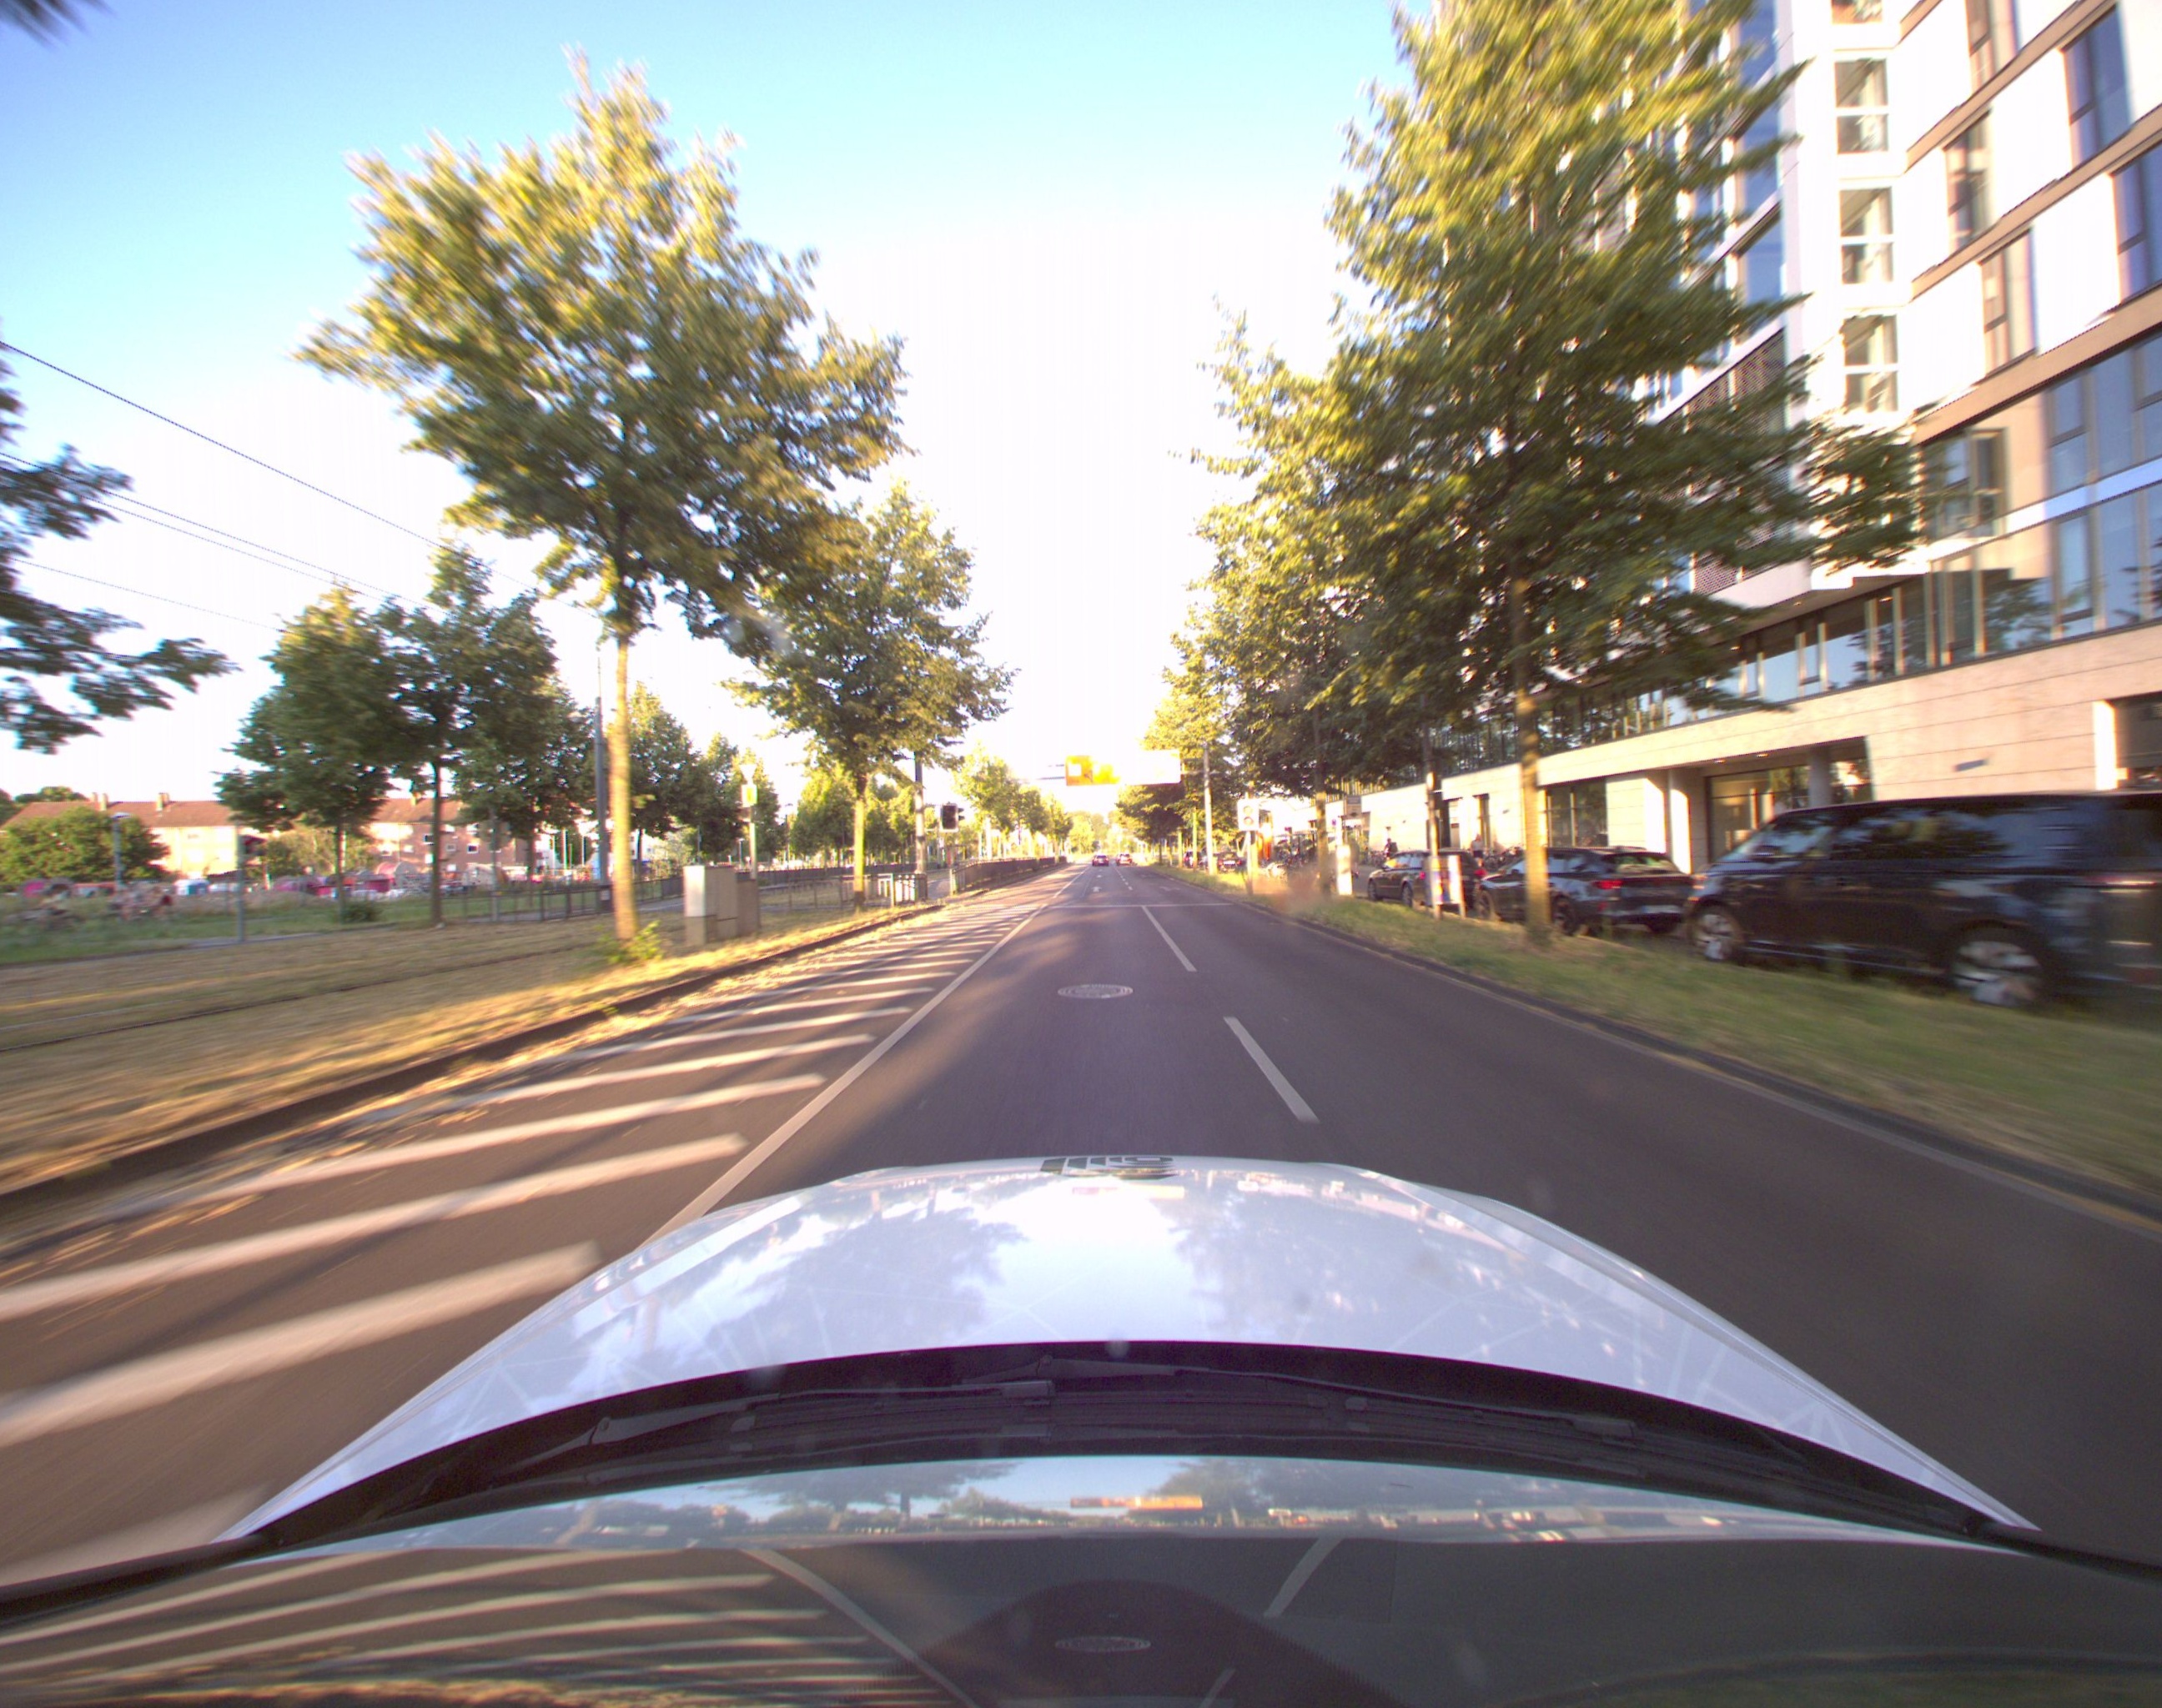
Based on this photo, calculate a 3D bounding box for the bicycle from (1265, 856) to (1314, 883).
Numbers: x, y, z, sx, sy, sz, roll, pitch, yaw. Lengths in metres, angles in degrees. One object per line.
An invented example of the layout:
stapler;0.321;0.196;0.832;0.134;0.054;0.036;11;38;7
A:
bicycle;8.645;0.627;33.713;1.939;1.054;0.408;1;0;-7

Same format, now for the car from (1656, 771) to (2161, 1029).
car;8.493;0.298;8.242;1.987;1.852;4.664;-2;0;0

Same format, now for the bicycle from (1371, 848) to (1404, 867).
bicycle;18.872;0.207;50.147;1.780;1.104;0.508;-2;0;-4

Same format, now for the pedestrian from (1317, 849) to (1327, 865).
pedestrian;18.751;0.205;63.446;0.569;1.195;0.807;-2;0;4

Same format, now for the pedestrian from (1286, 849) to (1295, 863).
pedestrian;19.345;0.155;75.037;0.577;1.283;0.738;-2;0;-3

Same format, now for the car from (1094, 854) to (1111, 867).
car;2.569;0.720;98.362;1.905;1.486;4.000;-2;0;1

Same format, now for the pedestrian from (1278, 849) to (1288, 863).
pedestrian;18.702;0.157;75.401;0.627;1.283;0.712;-2;0;-20

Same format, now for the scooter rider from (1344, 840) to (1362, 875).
scooter rider;12.788;0.164;38.271;0.524;1.638;0.832;-2;0;-1

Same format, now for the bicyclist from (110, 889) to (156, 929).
bicyclist;-36.505;2.094;31.365;0.617;1.456;0.937;-2;0;-1

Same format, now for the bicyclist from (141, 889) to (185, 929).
bicyclist;-35.517;2.107;31.517;0.617;1.456;0.937;-2;0;-1

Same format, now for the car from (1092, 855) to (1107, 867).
car;2.388;0.870;104.818;1.905;1.486;4.000;-2;0;1

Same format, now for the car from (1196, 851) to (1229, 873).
car;9.757;0.577;60.684;1.772;1.472;4.287;-2;0;0

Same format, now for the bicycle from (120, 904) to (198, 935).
bicycle;-35.509;2.506;31.408;0.617;1.011;2.082;-2;0;0

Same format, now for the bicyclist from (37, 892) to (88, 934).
bicyclist;-36.511;2.101;29.210;0.617;1.421;0.937;-2;0;-1

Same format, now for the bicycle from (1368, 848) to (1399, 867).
bicycle;18.933;0.197;50.955;1.780;1.104;0.508;-2;0;-4

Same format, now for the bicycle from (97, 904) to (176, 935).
bicycle;-36.492;2.514;31.511;0.617;1.011;2.082;-2;0;0

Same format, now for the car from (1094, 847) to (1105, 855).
car;3.563;-0.516;156.120;1.905;1.486;4.000;-2;0;1

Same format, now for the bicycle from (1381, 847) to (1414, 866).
bicycle;18.964;0.154;48.856;1.780;1.104;0.508;-2;0;-4

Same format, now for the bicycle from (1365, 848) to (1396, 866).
bicycle;18.955;0.190;51.511;1.780;1.104;0.508;-2;0;-4

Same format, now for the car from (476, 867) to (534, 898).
car;-45.040;2.153;63.846;2.425;2.224;5.874;-2;0;-22

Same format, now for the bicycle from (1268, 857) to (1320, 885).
bicycle;8.496;0.692;32.537;1.941;1.054;0.543;1;0;-10

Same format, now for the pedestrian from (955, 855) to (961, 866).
pedestrian;-14.629;0.796;96.681;0.613;1.319;0.744;-2;0;-2

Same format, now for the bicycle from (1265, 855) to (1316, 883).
bicycle;8.535;0.609;33.185;1.939;1.054;0.544;1;0;-6

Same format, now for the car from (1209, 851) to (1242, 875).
car;9.486;0.557;53.694;1.569;1.472;3.883;-2;0;2

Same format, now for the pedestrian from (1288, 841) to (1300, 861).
pedestrian;18.707;-0.289;71.495;0.707;1.737;0.683;-2;0;-29

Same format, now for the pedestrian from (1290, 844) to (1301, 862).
pedestrian;20.010;-0.082;75.889;0.636;1.718;0.695;-2;0;-18

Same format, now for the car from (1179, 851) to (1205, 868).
car;10.334;0.501;75.771;1.751;1.466;4.157;-2;0;-1

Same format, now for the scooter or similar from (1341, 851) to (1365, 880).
scooter or similar;12.800;0.515;38.384;0.524;1.310;1.663;-2;0;-1

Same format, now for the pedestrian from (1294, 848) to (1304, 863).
pedestrian;20.073;0.148;75.053;0.580;1.283;0.735;-2;0;-17

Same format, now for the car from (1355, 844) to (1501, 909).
car;8.637;0.506;20.757;1.861;1.411;4.649;-2;0;2

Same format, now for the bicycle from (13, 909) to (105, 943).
bicycle;-36.507;2.542;29.136;0.617;1.011;2.082;-2;0;0

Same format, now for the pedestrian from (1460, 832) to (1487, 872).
pedestrian;16.500;-0.090;34.248;0.640;1.648;0.953;-2;0;1

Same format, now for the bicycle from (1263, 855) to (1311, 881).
bicycle;8.643;0.583;34.168;1.939;1.054;0.408;1;0;-7

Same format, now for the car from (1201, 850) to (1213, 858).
car;29.201;-0.099;189.346;1.977;1.728;4.020;-2;0;19

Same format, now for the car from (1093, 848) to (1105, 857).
car;3.058;-0.309;139.312;1.905;1.486;4.000;-2;0;1

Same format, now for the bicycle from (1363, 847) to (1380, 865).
bicycle;19.750;0.129;55.362;0.467;1.208;2.266;-2;0;5

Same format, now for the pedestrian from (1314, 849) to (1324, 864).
pedestrian;18.808;0.193;64.388;0.569;1.195;0.807;-2;0;2

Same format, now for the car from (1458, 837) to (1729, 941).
car;8.669;0.514;14.385;1.804;1.471;4.664;-2;0;0

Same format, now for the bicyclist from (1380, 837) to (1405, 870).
bicyclist;15.099;-0.025;39.546;0.769;1.566;0.991;-2;0;-1

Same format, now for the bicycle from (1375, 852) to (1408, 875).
bicycle;15.106;0.459;39.715;0.769;1.079;2.063;-2;0;-1

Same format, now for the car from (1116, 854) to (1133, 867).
car;5.273;0.781;99.225;1.905;1.486;4.000;-2;0;1
